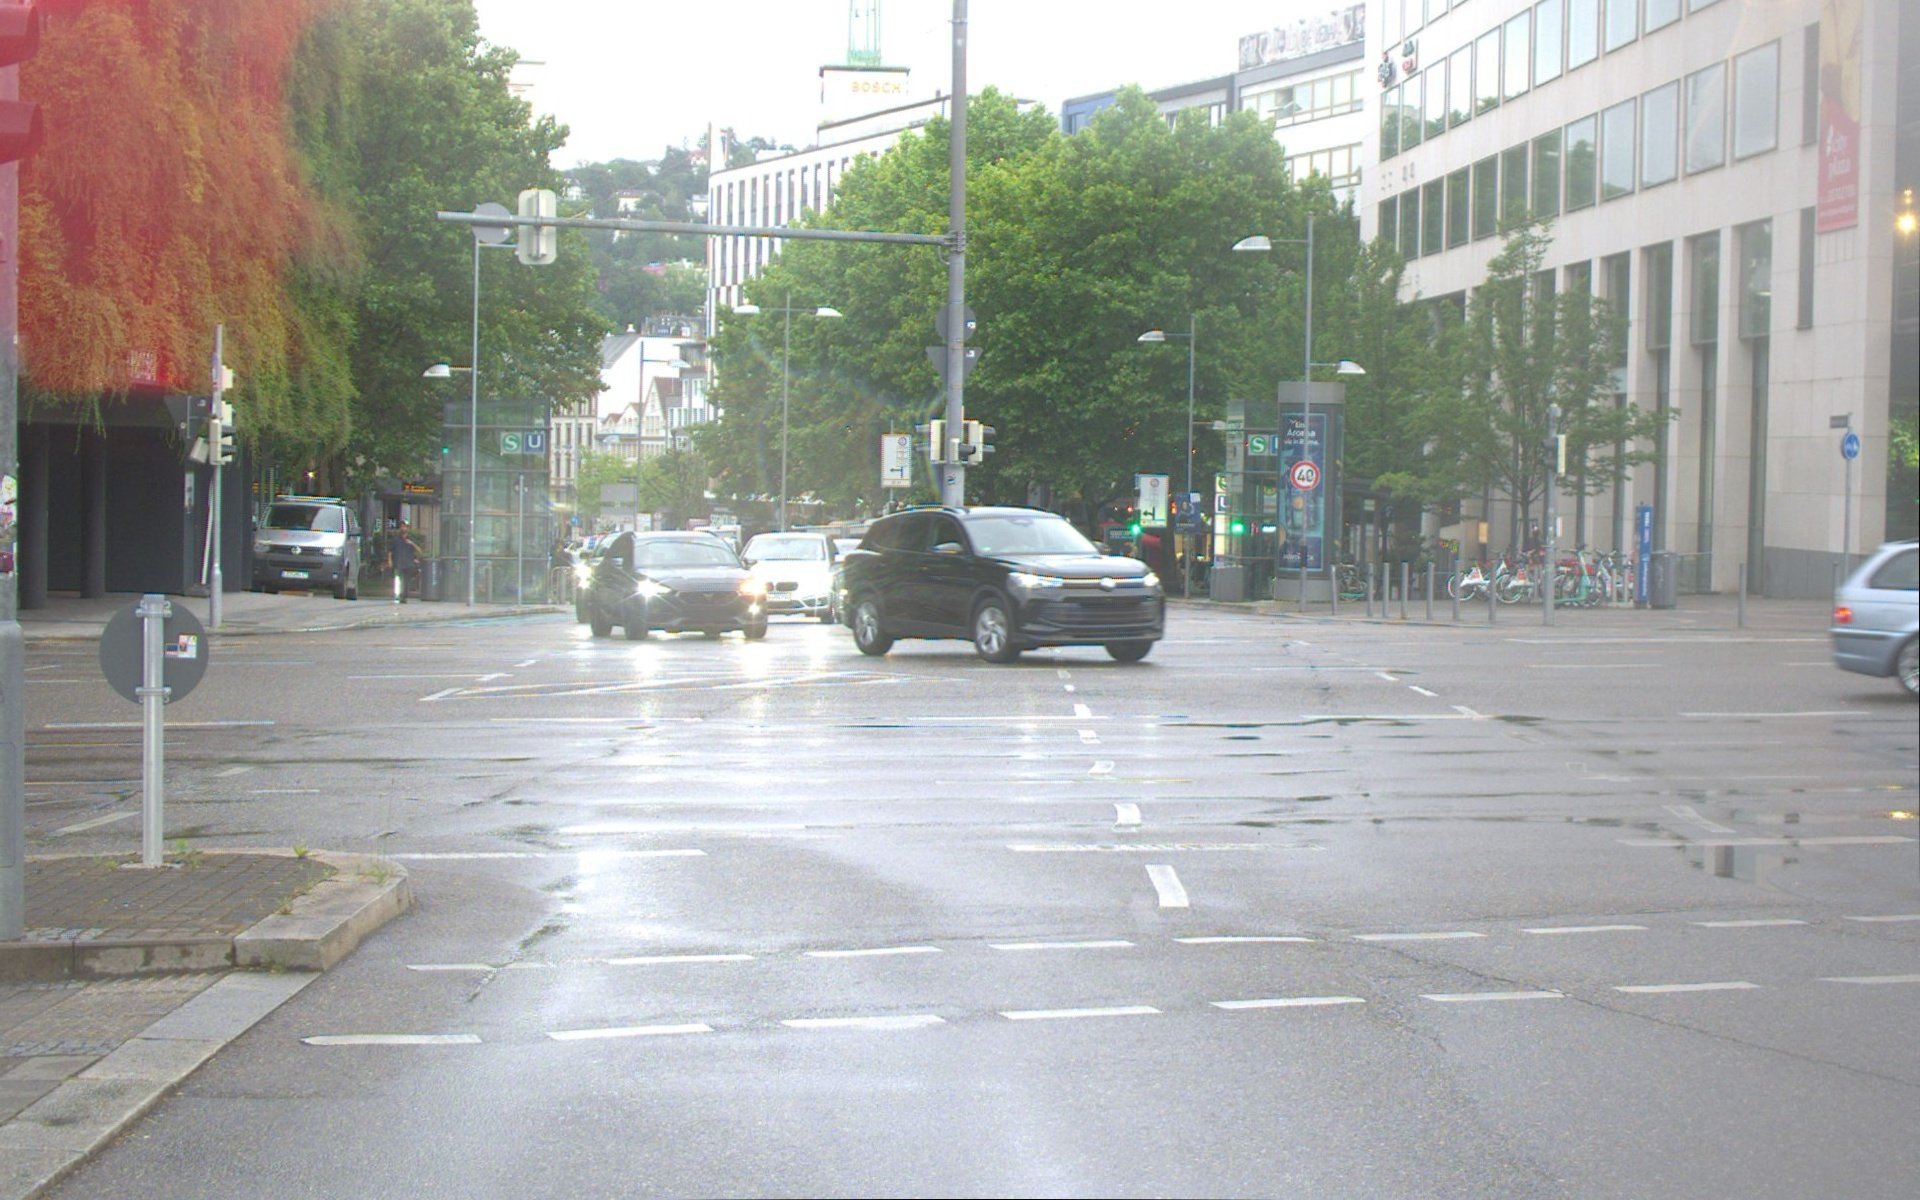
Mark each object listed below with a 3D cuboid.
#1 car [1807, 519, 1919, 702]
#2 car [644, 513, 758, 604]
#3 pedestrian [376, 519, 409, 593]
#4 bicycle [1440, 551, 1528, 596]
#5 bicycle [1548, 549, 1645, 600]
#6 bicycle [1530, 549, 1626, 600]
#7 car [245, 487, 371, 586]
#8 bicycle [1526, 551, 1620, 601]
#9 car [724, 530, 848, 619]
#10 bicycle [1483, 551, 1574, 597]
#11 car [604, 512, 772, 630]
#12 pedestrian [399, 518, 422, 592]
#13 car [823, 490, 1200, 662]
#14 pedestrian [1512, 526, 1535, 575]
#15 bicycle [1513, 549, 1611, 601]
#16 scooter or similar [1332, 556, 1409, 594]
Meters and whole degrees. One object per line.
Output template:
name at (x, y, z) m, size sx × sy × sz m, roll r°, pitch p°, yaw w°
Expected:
car at (9.584, 0.101, 28.763) m, size 4.457 × 1.481 × 1.997 m, roll 1°, pitch 3°, yaw 31°
car at (-5.406, -0.886, 71.269) m, size 2.174 × 1.817 × 4.645 m, roll 0°, pitch 1°, yaw -6°
pedestrian at (-11.719, -0.919, 71.008) m, size 0.607 × 1.519 × 0.588 m, roll 0°, pitch 1°, yaw -5°
bicycle at (11.078, -0.571, 72.764) m, size 1.794 × 0.931 × 0.475 m, roll 0°, pitch 1°, yaw 3°
bicycle at (12.005, -0.479, 64.876) m, size 1.799 × 0.931 × 0.474 m, roll 1°, pitch 1°, yaw 41°
bicycle at (11.831, -0.494, 65.842) m, size 1.799 × 0.931 × 0.474 m, roll 1°, pitch 1°, yaw 41°
car at (-12.919, -1.262, 68.314) m, size 1.993 × 1.888 × 4.466 m, roll 0°, pitch 1°, yaw -5°
bicycle at (11.859, -0.467, 66.587) m, size 1.799 × 0.931 × 0.474 m, roll 1°, pitch 1°, yaw 41°
car at (-2.999, -0.468, 58.500) m, size 1.993 × 1.439 × 4.556 m, roll 0°, pitch 1°, yaw -4°
bicycle at (11.730, -0.540, 70.915) m, size 1.794 × 0.931 × 0.475 m, roll 0°, pitch 1°, yaw 3°
car at (-3.648, -0.419, 45.474) m, size 1.856 × 1.443 × 4.622 m, roll 0°, pitch 2°, yaw -9°
pedestrian at (-11.368, -0.932, 71.109) m, size 0.436 × 1.519 × 0.548 m, roll 0°, pitch 1°, yaw -5°
car at (0.467, -0.314, 36.267) m, size 1.964 × 1.649 × 4.364 m, roll -2°, pitch 3°, yaw -31°
pedestrian at (13.339, -1.175, 81.348) m, size 0.353 × 1.169 × 0.415 m, roll 0°, pitch 1°, yaw -30°
bicycle at (11.240, -0.470, 64.234) m, size 1.799 × 0.931 × 0.474 m, roll 1°, pitch 1°, yaw 41°
scooter or similar at (9.551, -0.590, 80.034) m, size 1.745 × 0.875 × 0.489 m, roll 0°, pitch 1°, yaw -19°
